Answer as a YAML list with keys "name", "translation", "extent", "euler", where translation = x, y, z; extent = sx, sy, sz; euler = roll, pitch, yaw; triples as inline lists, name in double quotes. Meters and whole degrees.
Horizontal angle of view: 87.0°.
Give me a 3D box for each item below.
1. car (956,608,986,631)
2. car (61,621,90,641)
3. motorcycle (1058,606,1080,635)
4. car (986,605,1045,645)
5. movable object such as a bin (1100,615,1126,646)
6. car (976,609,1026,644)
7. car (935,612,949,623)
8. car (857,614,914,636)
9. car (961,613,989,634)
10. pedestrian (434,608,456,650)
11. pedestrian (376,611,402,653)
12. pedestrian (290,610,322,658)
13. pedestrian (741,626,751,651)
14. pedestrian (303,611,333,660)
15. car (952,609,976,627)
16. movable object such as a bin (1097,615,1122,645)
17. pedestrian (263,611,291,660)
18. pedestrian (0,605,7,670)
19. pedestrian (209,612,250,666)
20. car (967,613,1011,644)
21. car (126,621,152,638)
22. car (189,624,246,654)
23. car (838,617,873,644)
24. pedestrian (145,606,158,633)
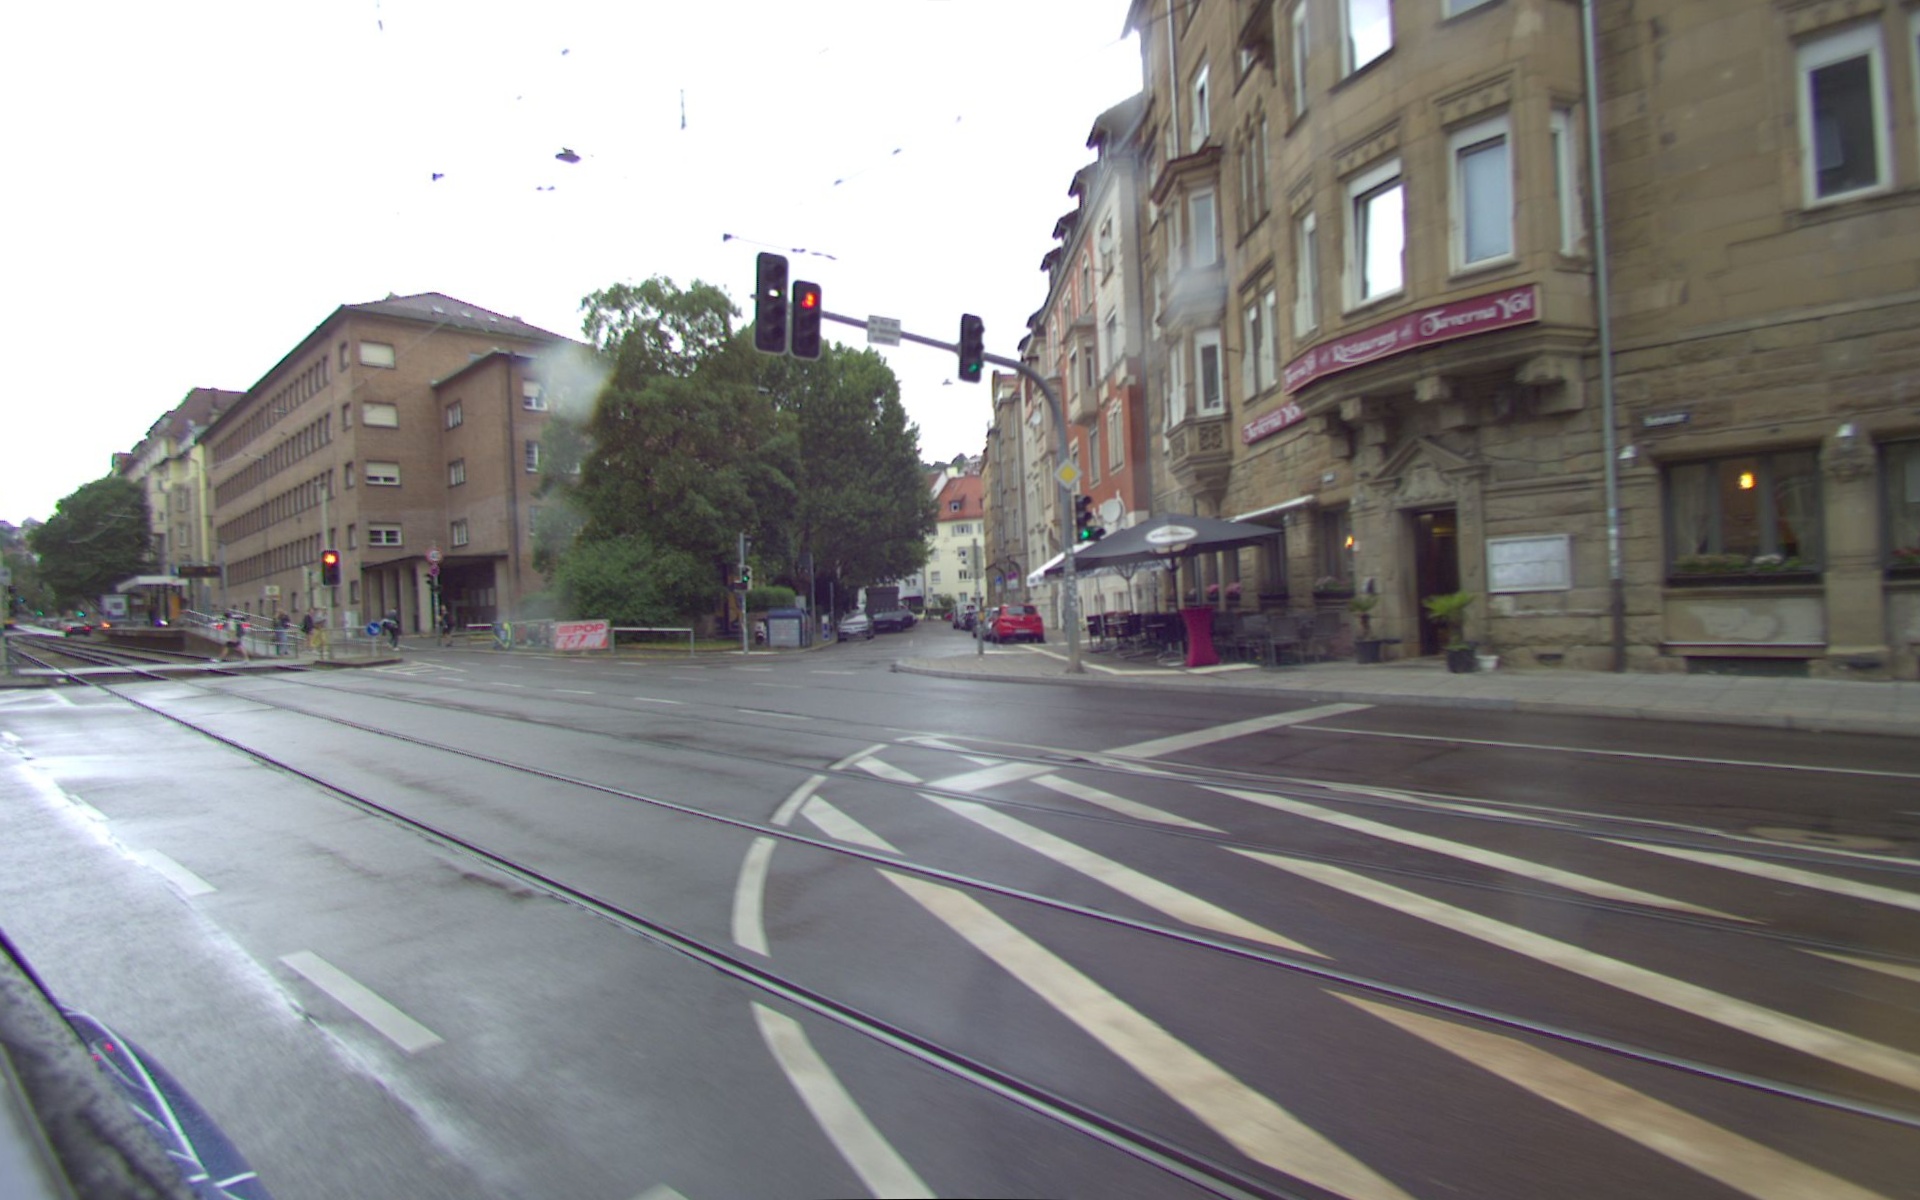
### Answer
- name: "car"
  translation: [0.809, 1.488, 77.722]
  extent: [1.970, 1.643, 4.004]
  euler: [-1, -1, -4]
- name: "car"
  translation: [-91.823, 3.171, 105.061]
  extent: [1.970, 2.029, 4.002]
  euler: [1, -2, -45]
- name: "motorcycle"
  translation: [4.927, 0.917, 45.839]
  extent: [0.738, 1.265, 1.860]
  euler: [-1, -1, -2]
- name: "car"
  translation: [2.022, 0.915, 37.890]
  extent: [1.716, 1.413, 4.003]
  euler: [-1, -1, -3]
- name: "movable object such as a bin"
  translation: [5.232, 1.032, 34.613]
  extent: [0.709, 1.050, 0.552]
  euler: [0, -1, -14]
- name: "car"
  translation: [1.701, 1.111, 43.275]
  extent: [1.716, 1.413, 4.171]
  euler: [-1, -1, -3]
- name: "car"
  translation: [-2.190, 2.132, 123.506]
  extent: [1.550, 1.413, 3.699]
  euler: [-1, -1, 1]
- name: "car"
  translation: [-5.224, 1.735, 71.423]
  extent: [3.943, 1.489, 1.742]
  euler: [-1, -1, -1]
- name: "car"
  translation: [1.038, 1.634, 71.928]
  extent: [1.716, 1.413, 4.003]
  euler: [-1, -1, -3]
- name: "pedestrian"
  translation: [-20.822, 1.155, 40.902]
  extent: [0.688, 1.688, 0.597]
  euler: [-2, -2, 42]
- name: "pedestrian"
  translation: [-22.704, 1.279, 40.258]
  extent: [0.649, 1.663, 0.756]
  euler: [-2, -2, 44]
- name: "pedestrian"
  translation: [-24.015, 1.225, 37.162]
  extent: [0.883, 1.709, 0.735]
  euler: [-1, 1, 44]
- name: "pedestrian"
  translation: [-9.372, 1.679, 44.327]
  extent: [0.411, 1.093, 0.283]
  euler: [0, -1, -21]
- name: "pedestrian"
  translation: [-22.531, 1.236, 35.505]
  extent: [0.735, 1.659, 0.641]
  euler: [-2, 1, -44]
- name: "car"
  translation: [0.290, 1.469, 83.501]
  extent: [1.716, 1.413, 4.003]
  euler: [-1, -1, -3]
- name: "movable object such as a bin"
  translation: [5.199, 1.038, 35.219]
  extent: [0.709, 1.050, 0.552]
  euler: [0, -1, -14]
- name: "pedestrian"
  translation: [-24.837, 1.275, 36.816]
  extent: [0.688, 1.711, 0.657]
  euler: [0, 1, 42]
- name: "pedestrian"
  translation: [-30.517, 1.192, 31.708]
  extent: [0.887, 2.029, 0.948]
  euler: [-2, 0, -45]
- name: "pedestrian"
  translation: [-22.455, 1.193, 31.123]
  extent: [0.953, 1.595, 0.688]
  euler: [-2, -1, 31]
- name: "car"
  translation: [1.365, 1.381, 49.291]
  extent: [1.716, 1.413, 4.146]
  euler: [-1, -1, -3]
- name: "car"
  translation: [-75.060, 2.654, 92.483]
  extent: [1.625, 1.477, 3.114]
  euler: [-2, 0, -43]
- name: "car"
  translation: [-44.414, 2.312, 60.490]
  extent: [1.970, 1.640, 5.256]
  euler: [2, -2, -45]
- name: "car"
  translation: [-5.658, 1.624, 54.920]
  extent: [1.716, 1.413, 4.003]
  euler: [-1, -1, -3]
- name: "pedestrian"
  translation: [-51.516, 1.259, 64.473]
  extent: [0.491, 1.722, 0.580]
  euler: [-2, -2, 44]
